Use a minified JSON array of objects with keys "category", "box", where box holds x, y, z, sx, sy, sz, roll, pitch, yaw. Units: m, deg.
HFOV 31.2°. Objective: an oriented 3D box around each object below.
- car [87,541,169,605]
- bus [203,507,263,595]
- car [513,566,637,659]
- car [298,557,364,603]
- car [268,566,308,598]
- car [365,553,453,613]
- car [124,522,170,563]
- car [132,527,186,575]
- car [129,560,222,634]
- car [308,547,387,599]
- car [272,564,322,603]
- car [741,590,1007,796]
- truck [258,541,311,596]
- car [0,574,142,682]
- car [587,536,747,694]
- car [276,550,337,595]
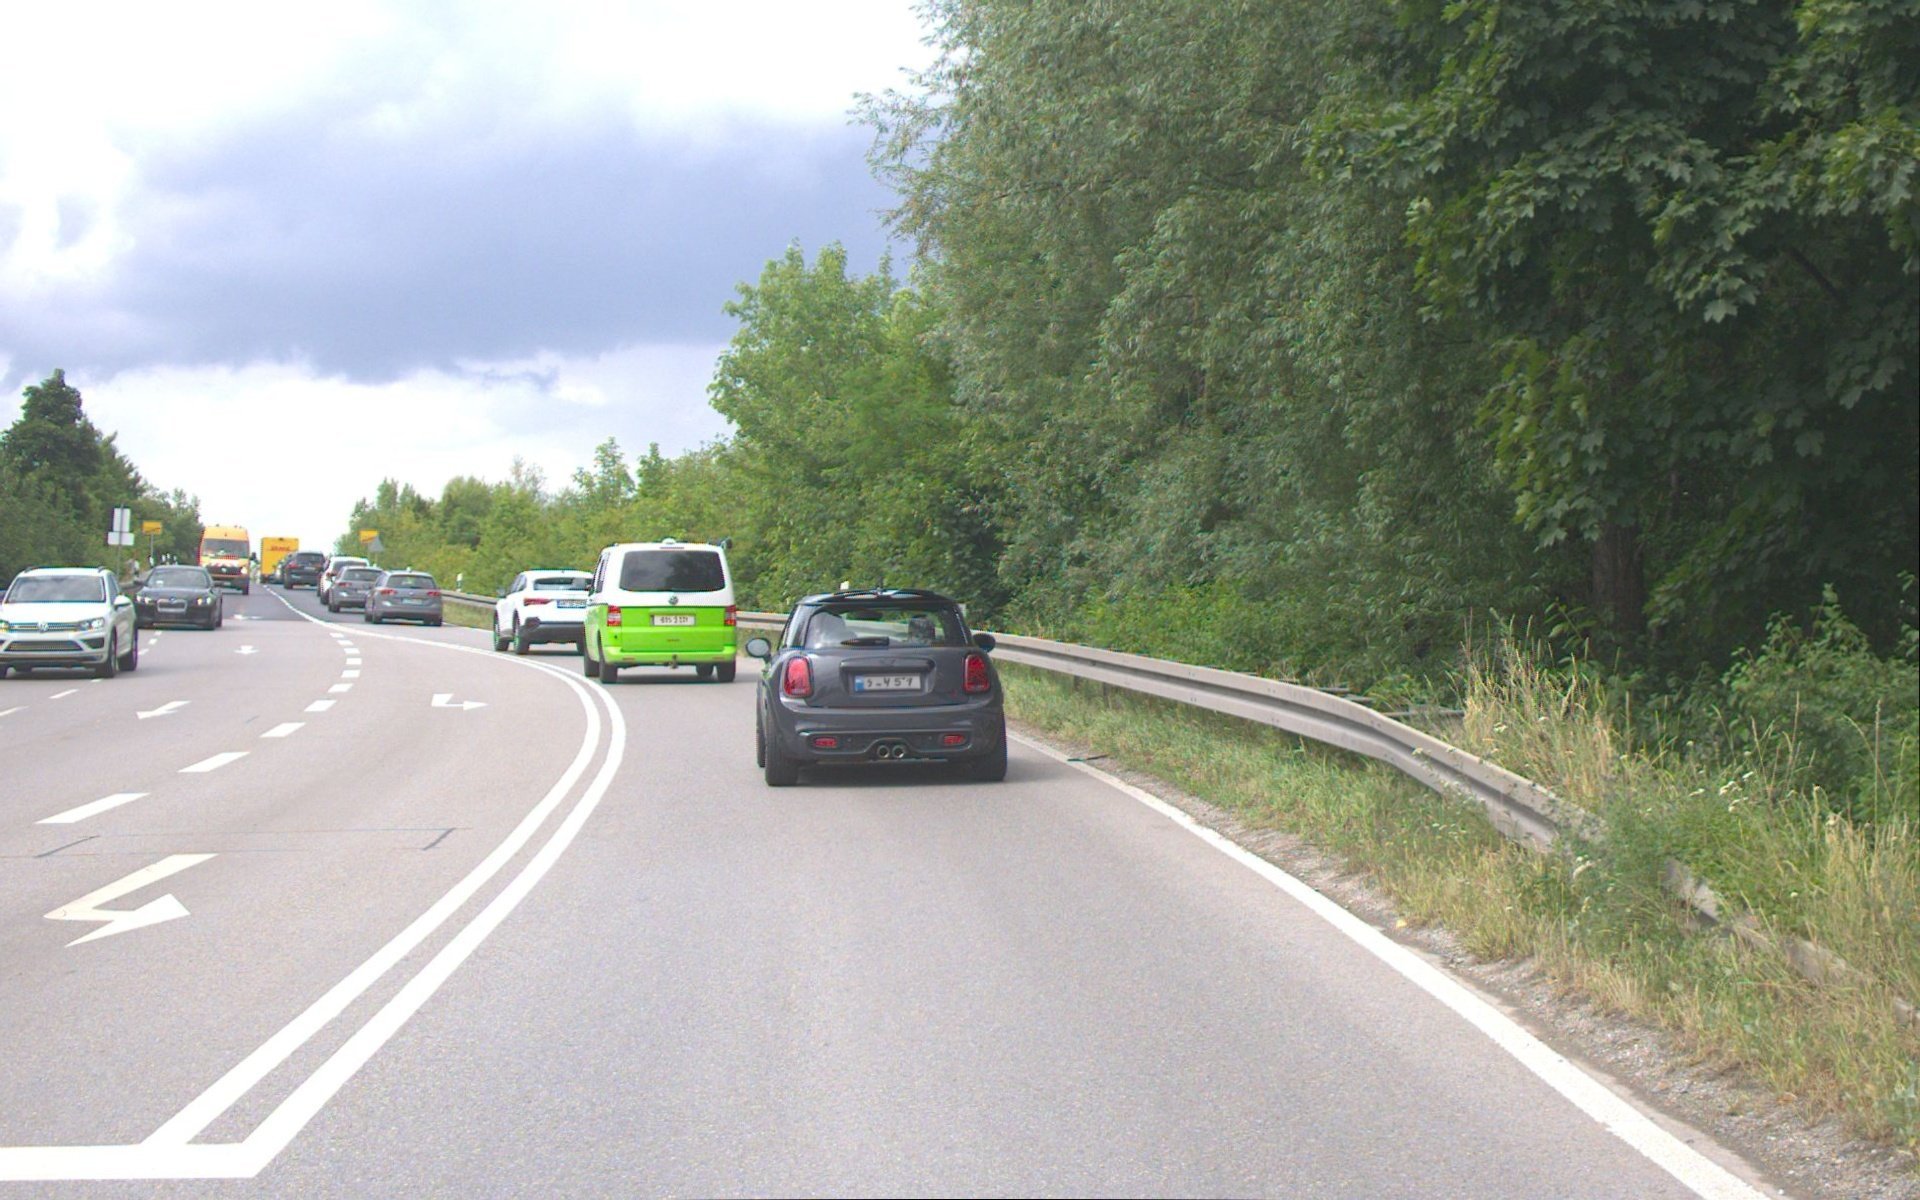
[{"category":"car","box":[-22.796,-0.748,94.315,1.993,1.684,4.001,1,0,-11]},{"category":"bus","box":[-28.497,-1.898,134.607,1.993,3.291,7.431,1,0,-14]},{"category":"car","box":[-7.234,0.237,64.315,1.993,1.678,4.001,0,0,-11]},{"category":"car","box":[-21.917,-0.678,119.719,1.993,1.471,4.487,2,-1,-13]},{"category":"car","box":[-38.624,-1.012,197.527,1.993,1.781,4.487,1,0,-15]},{"category":"car","box":[-14.736,-0.425,91.802,1.993,1.471,4.487,2,-1,-13]},{"category":"car","box":[-41.290,-2.899,174.647,1.993,2.007,4.001,1,0,-10]},{"category":"car","box":[-35.400,-2.146,152.081,1.993,2.007,4.001,2,0,-9]},{"category":"car","box":[-18.426,-0.085,80.854,1.993,1.684,4.001,-1,1,-11]},{"category":"car","box":[-18.924,-0.821,106.100,1.993,1.471,4.487,2,-1,-15]},{"category":"car","box":[-30.862,-0.754,159.995,1.993,1.690,4.487,2,-1,-14]},{"category":"car","box":[-0.659,0.645,25.954,1.845,1.423,3.841,0,0,-2]},{"category":"truck","box":[-41.601,-1.895,211.936,2.716,2.888,8.771,2,-3,-8]},{"category":"car","box":[-14.107,0.410,54.120,1.993,1.607,4.001,1,0,-8]},{"category":"car","box":[-4.193,0.174,48.672,1.844,1.980,3.843,1,3,-11]},{"category":"car","box":[-26.158,-1.085,137.483,1.993,1.690,4.487,2,0,-16]}]
